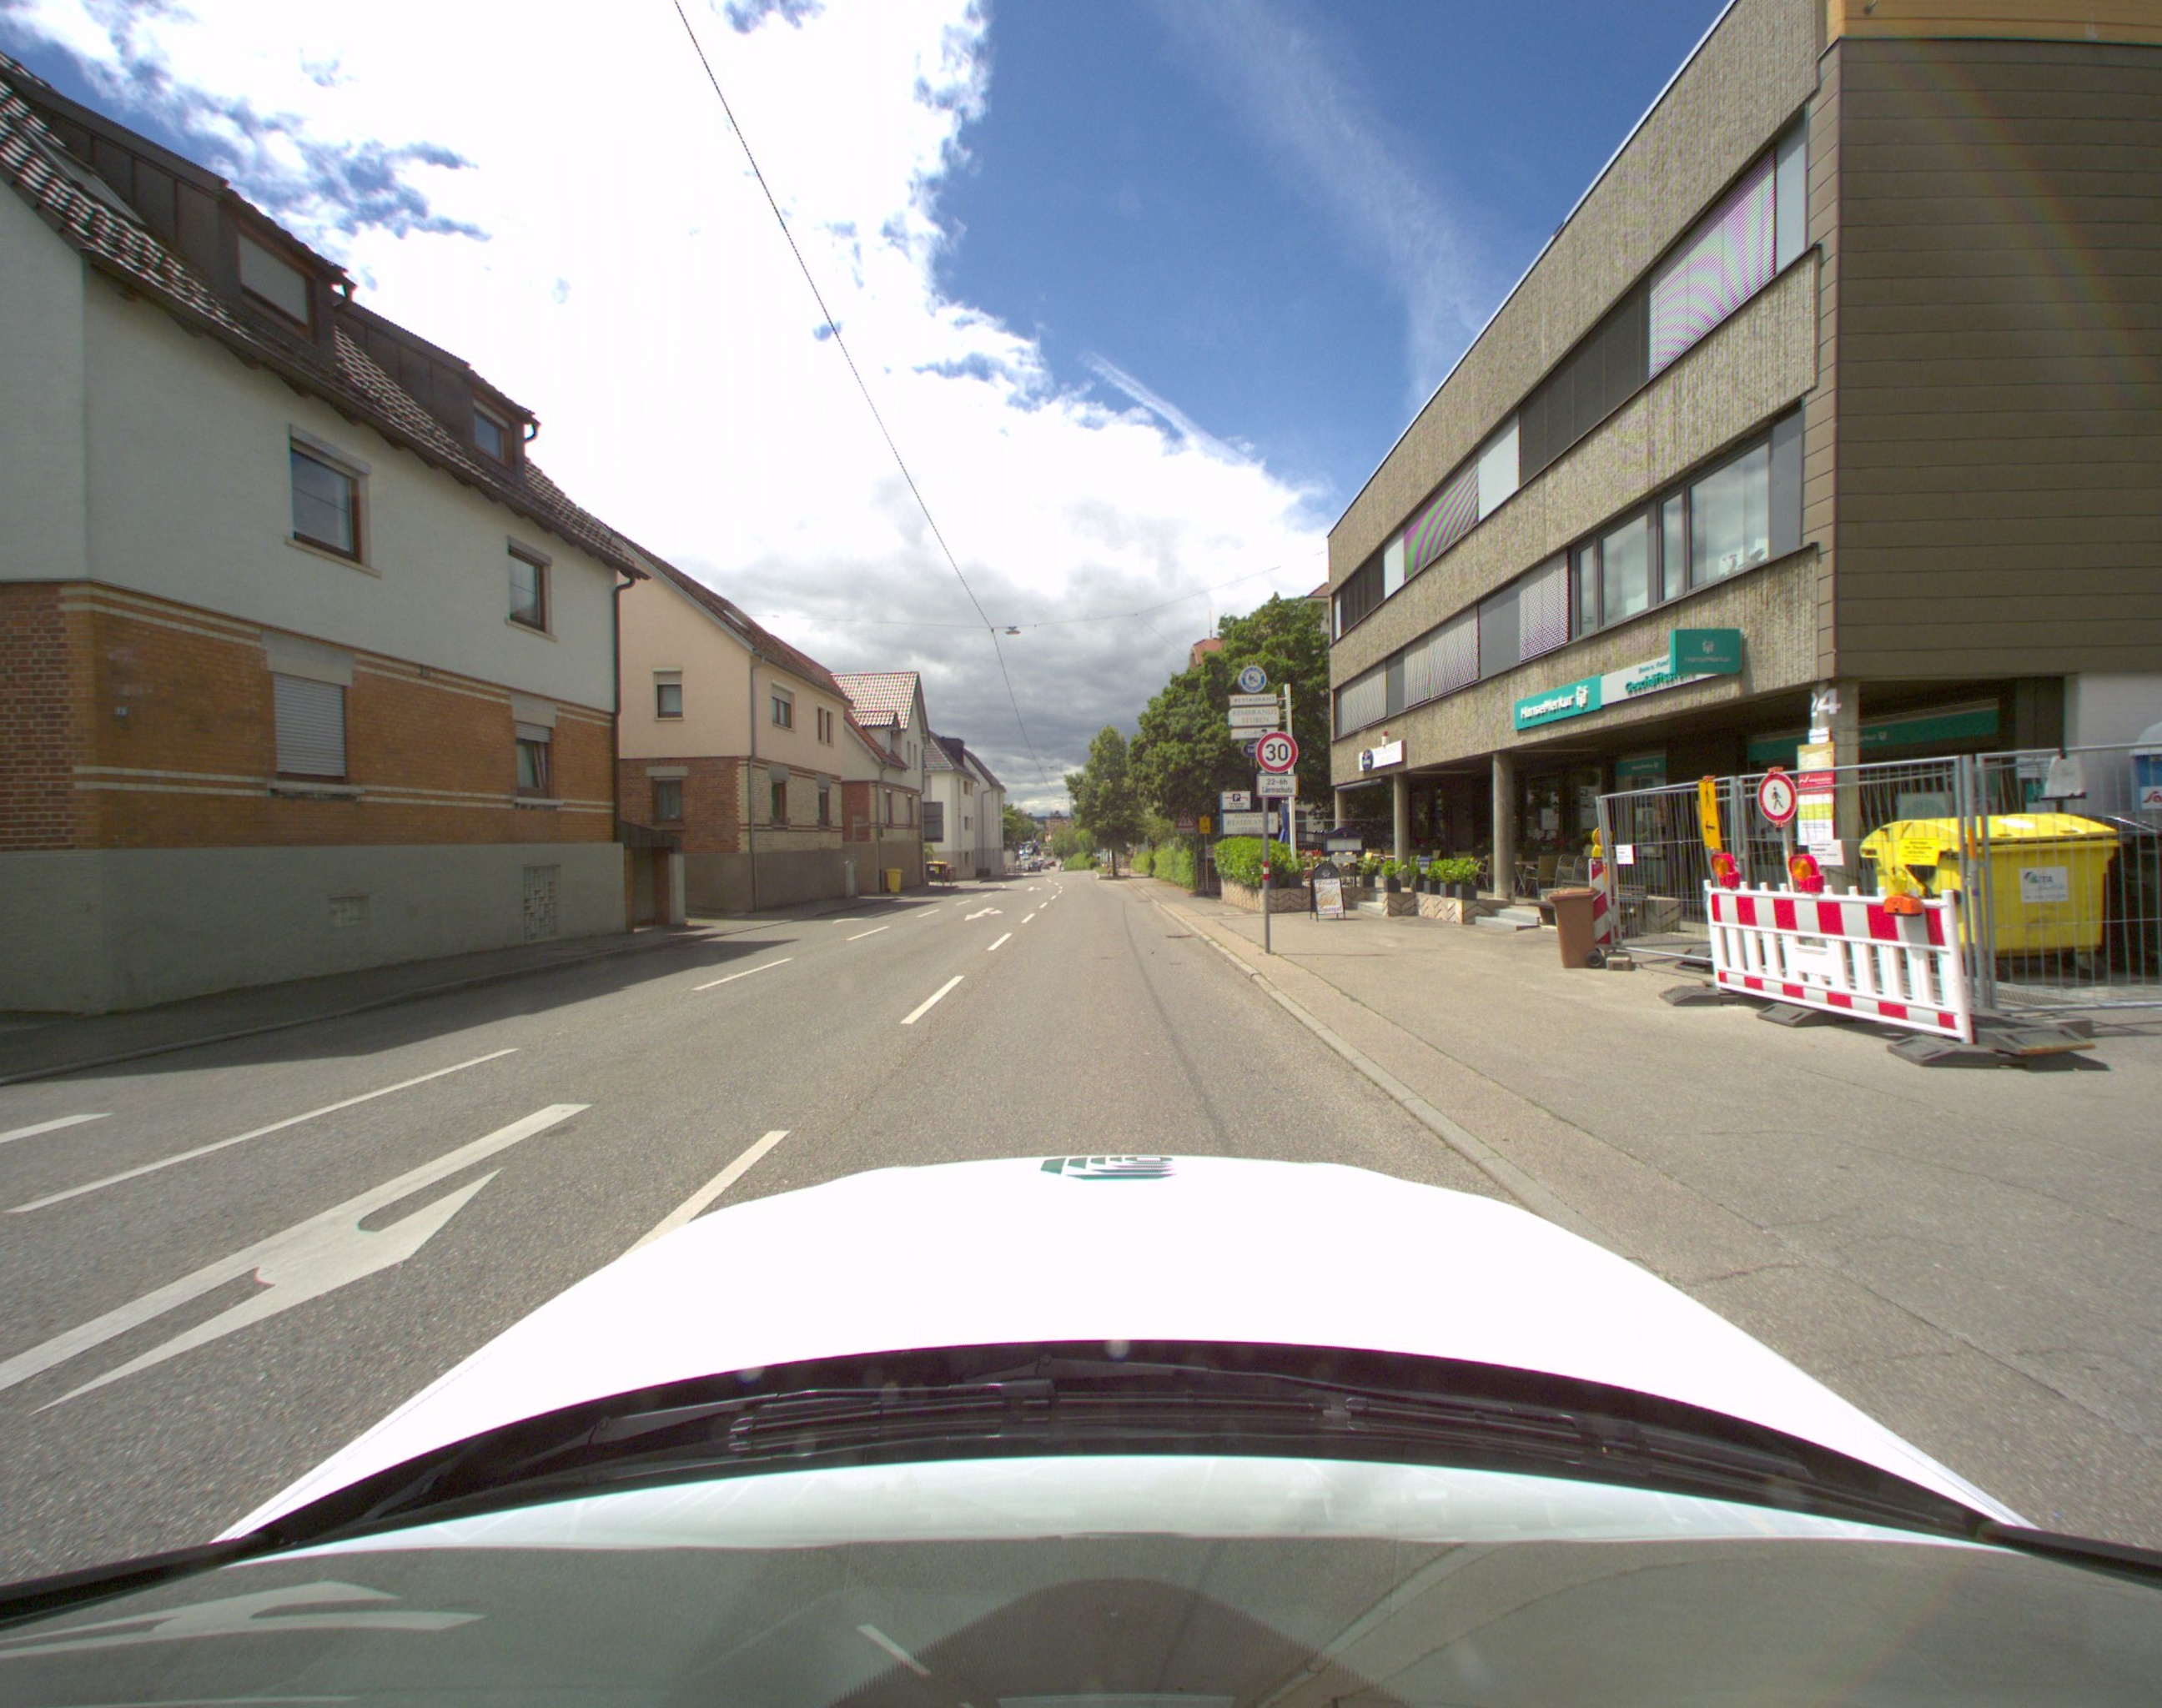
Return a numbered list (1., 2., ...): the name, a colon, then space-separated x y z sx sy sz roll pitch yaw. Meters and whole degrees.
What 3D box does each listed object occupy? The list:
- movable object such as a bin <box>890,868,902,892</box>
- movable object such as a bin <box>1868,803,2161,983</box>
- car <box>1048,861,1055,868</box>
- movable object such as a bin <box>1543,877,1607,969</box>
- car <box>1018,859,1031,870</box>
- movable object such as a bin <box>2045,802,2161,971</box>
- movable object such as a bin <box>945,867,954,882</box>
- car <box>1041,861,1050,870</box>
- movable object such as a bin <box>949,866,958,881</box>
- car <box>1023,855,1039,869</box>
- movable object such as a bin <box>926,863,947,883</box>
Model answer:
1. movable object such as a bin: -8.564 1.201 37.696 0.430 1.128 0.299 -2 -1 -1
2. movable object such as a bin: 8.407 0.317 7.395 1.476 1.492 1.077 -1 2 4
3. car: -8.129 2.923 223.463 1.989 2.014 3.995 -2 -1 -3
4. movable object such as a bin: 5.888 0.806 9.723 0.597 1.026 0.683 -2 0 30
5. car: -10.210 1.897 145.927 1.992 2.014 3.988 -1 -1 -8
6. movable object such as a bin: 9.598 0.255 7.279 0.776 1.440 1.019 -1 2 4
7. movable object such as a bin: -8.842 1.373 54.797 0.530 1.030 0.455 -1 -1 -1
8. car: -9.069 2.923 207.609 1.989 2.014 3.995 -2 -1 -3
9. movable object such as a bin: -8.705 1.308 55.501 0.530 1.030 0.455 -1 -1 -1
10. car: -7.356 1.208 120.380 1.992 2.014 3.988 -1 -1 -8
11. movable object such as a bin: -9.548 1.244 53.740 1.279 1.310 0.815 -1 -1 -5
